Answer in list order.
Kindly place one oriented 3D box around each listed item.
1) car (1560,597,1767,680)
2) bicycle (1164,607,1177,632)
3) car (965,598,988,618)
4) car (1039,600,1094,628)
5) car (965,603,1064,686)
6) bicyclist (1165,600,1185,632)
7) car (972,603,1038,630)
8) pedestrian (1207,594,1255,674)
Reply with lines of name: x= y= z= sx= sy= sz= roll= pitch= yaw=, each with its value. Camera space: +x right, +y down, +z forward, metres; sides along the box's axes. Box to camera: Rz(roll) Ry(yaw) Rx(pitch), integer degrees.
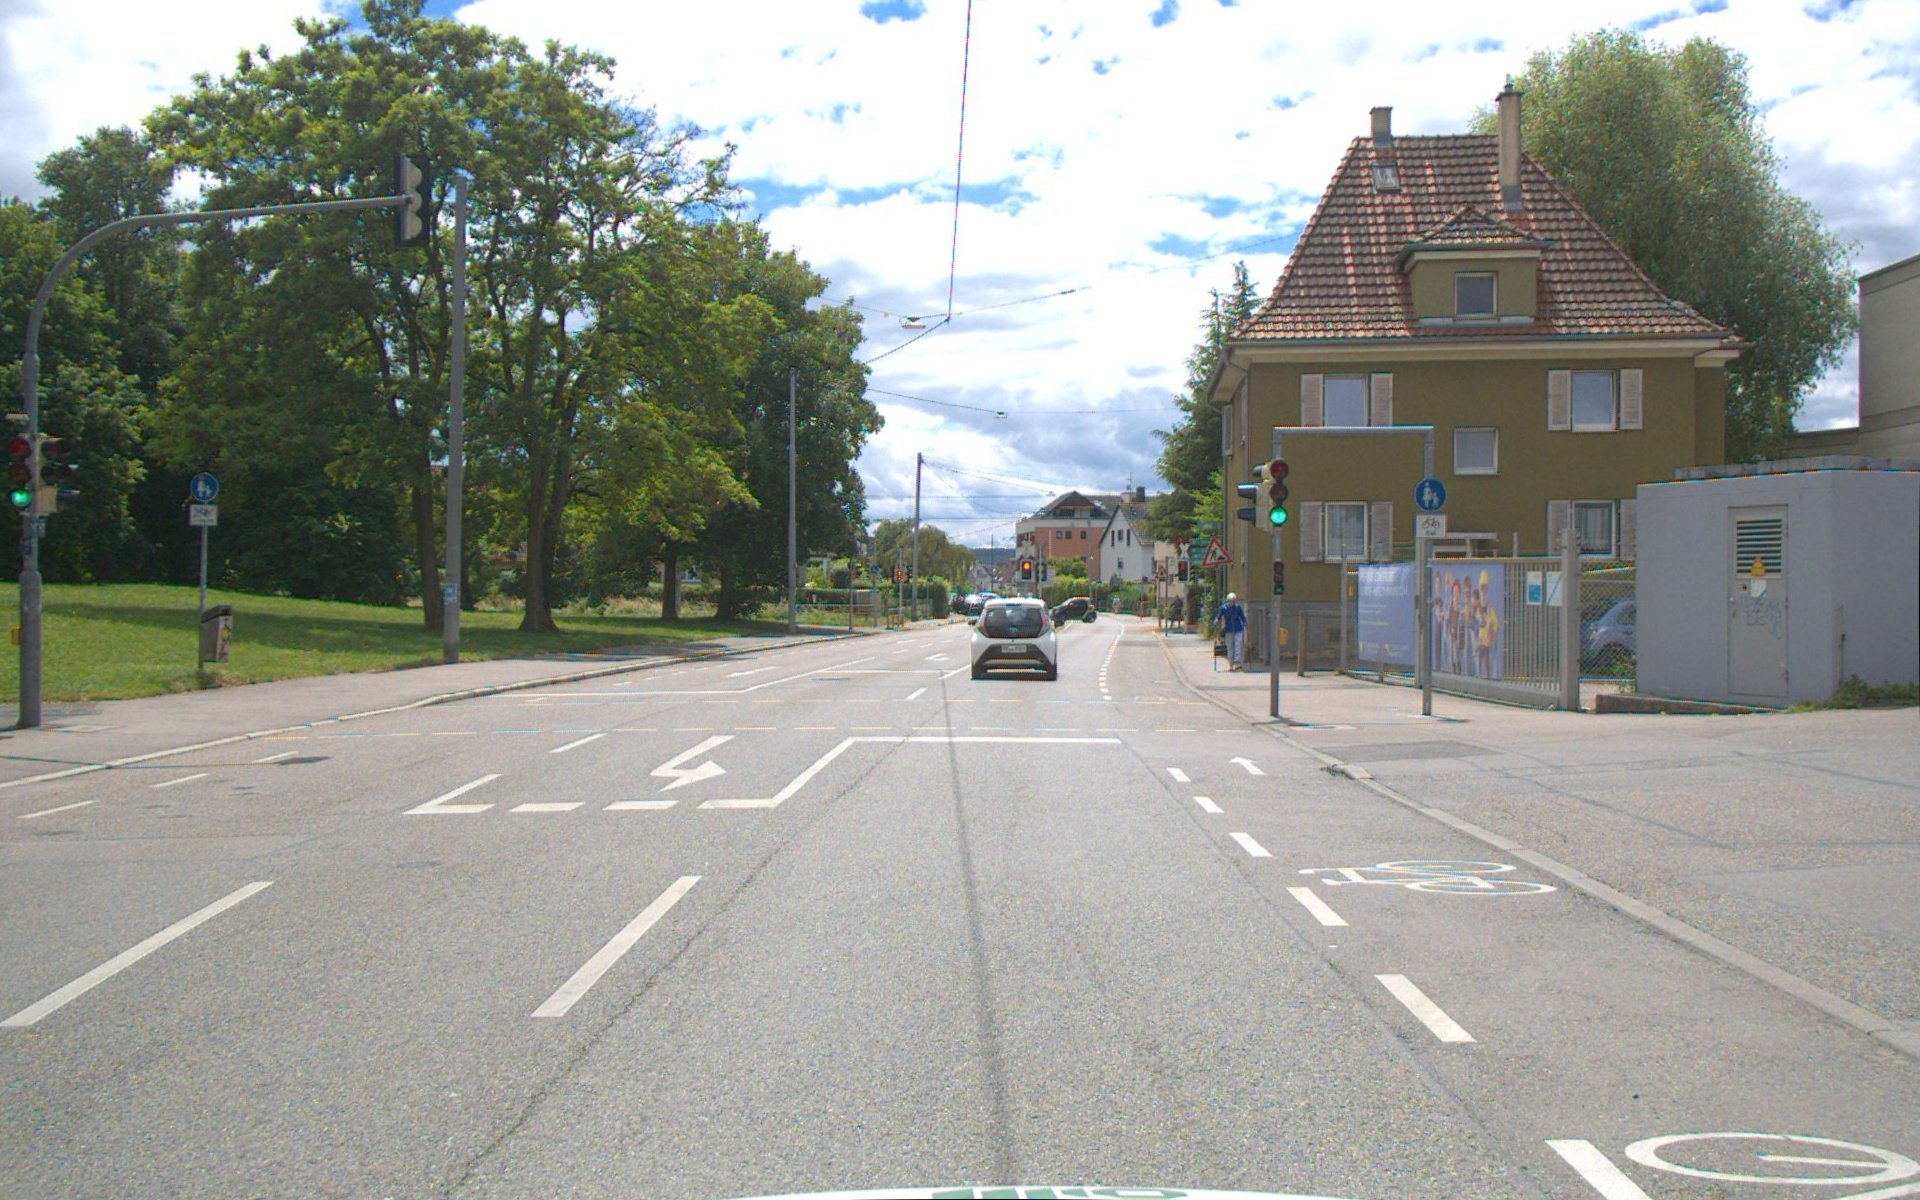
car: x=14.062 y=0.752 z=33.184 sx=3.432 sy=1.520 sz=1.659 roll=1 pitch=1 yaw=0
bicycle: x=10.856 y=1.024 z=85.453 sx=0.448 sy=1.192 sz=1.479 roll=-3 pitch=2 yaw=0
car: x=1.448 y=0.703 z=146.074 sx=1.953 sy=1.749 sz=4.000 roll=1 pitch=0 yaw=0
car: x=6.663 y=0.863 z=103.677 sx=3.283 sy=1.684 sz=1.726 roll=1 pitch=0 yaw=-4
car: x=1.101 y=0.815 z=31.706 sx=1.685 sy=1.467 sz=3.710 roll=1 pitch=0 yaw=5
bicyclist: x=11.099 y=0.815 z=85.395 sx=0.823 sy=1.580 sz=0.756 roll=-3 pitch=2 yaw=0
car: x=2.596 y=0.967 z=94.580 sx=1.872 sy=1.466 sz=4.085 roll=1 pitch=0 yaw=34
pedestrian: x=5.583 y=0.686 z=34.096 sx=0.806 sy=1.599 sz=0.988 roll=-1 pitch=-1 yaw=1
